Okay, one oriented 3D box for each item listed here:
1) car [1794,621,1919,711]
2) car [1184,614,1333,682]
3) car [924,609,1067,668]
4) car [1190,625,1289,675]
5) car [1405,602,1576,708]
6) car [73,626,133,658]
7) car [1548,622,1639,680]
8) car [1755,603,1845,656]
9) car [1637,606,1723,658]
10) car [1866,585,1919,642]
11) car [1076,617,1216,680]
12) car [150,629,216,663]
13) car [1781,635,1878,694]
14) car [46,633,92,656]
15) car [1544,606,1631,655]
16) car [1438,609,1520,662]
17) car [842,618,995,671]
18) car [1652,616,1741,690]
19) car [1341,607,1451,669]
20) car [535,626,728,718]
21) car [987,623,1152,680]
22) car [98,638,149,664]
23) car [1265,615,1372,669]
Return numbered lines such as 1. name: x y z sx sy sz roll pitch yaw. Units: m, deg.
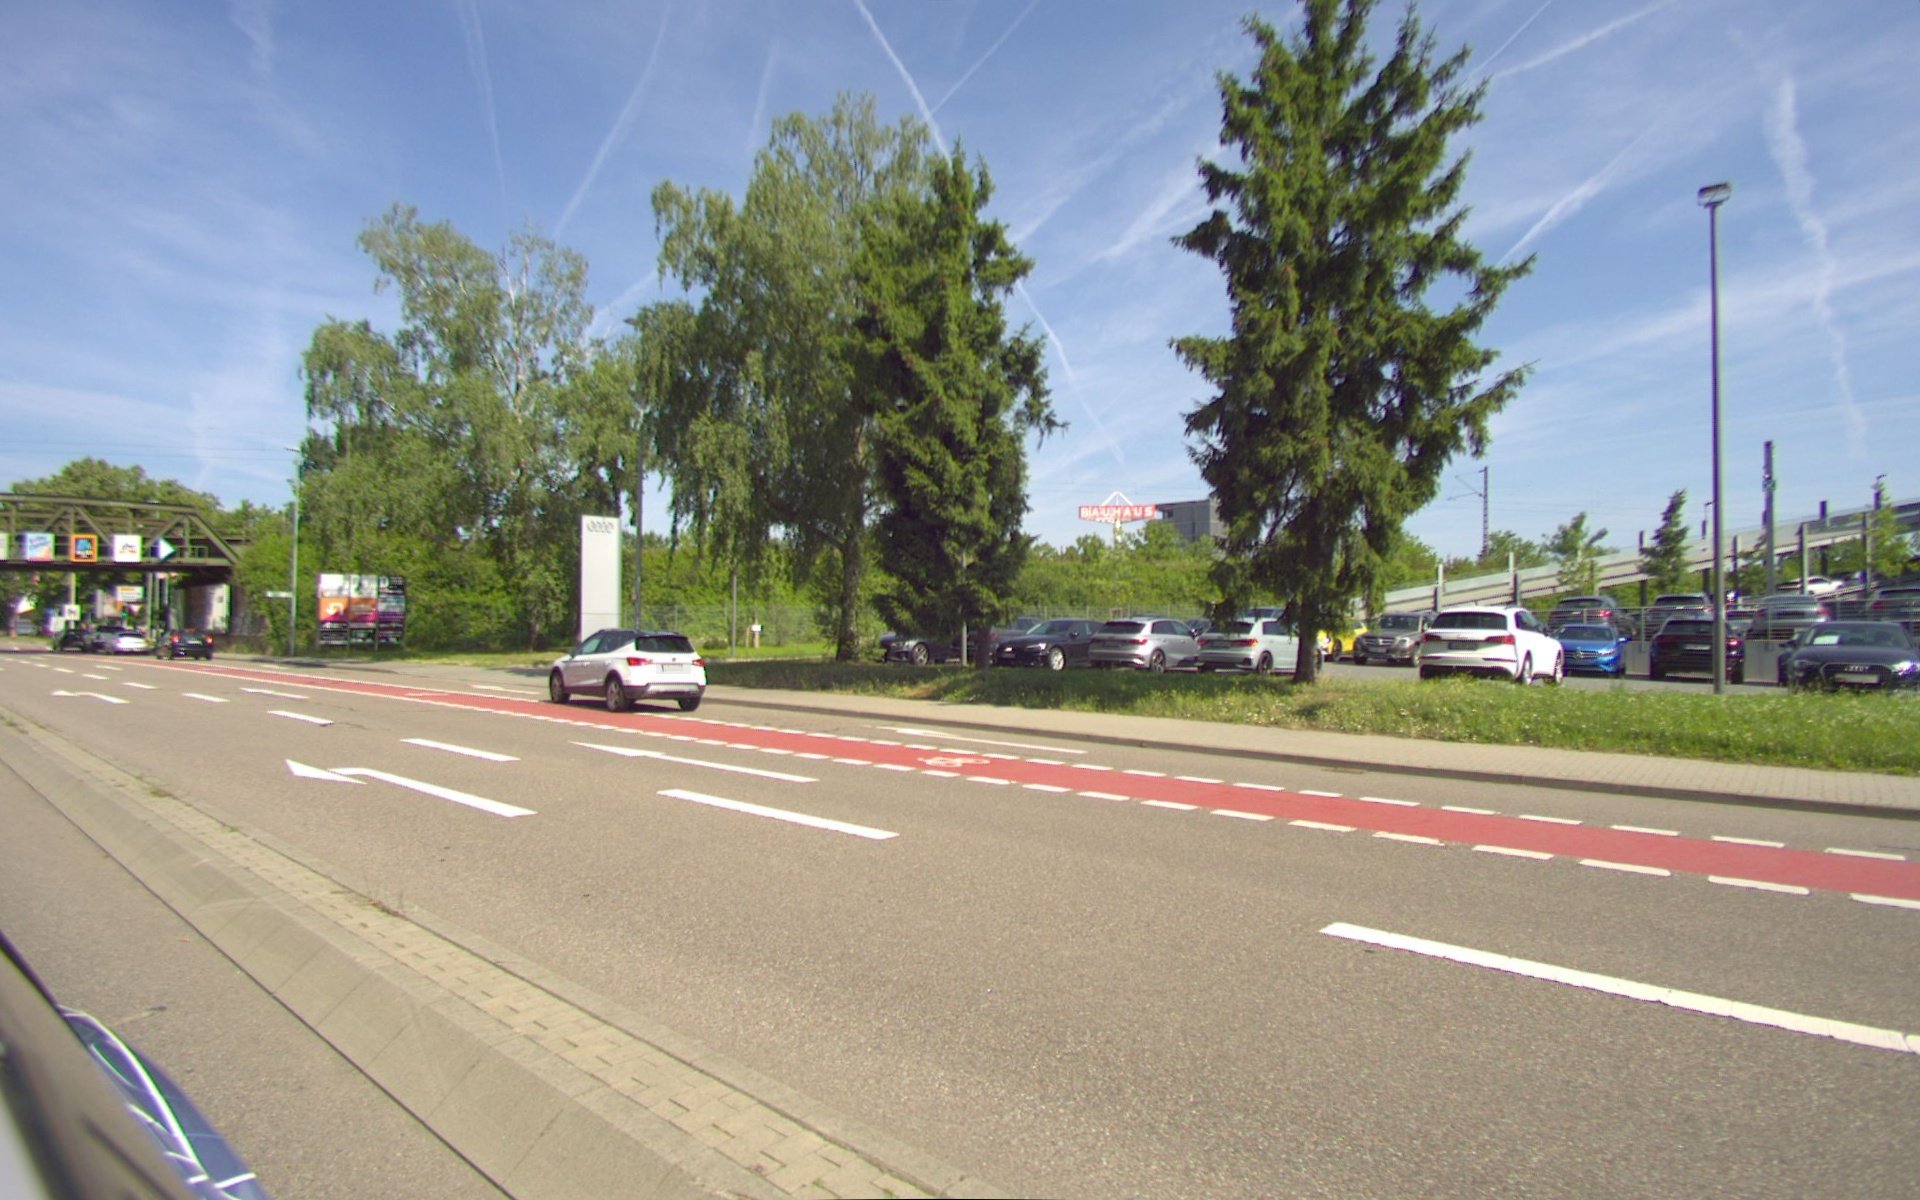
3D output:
1. car: 15.239 1.038 17.077 1.743 1.295 3.754 -2 -1 39
2. car: 7.364 1.115 24.802 1.848 1.497 3.942 -2 -1 45
3. car: 1.107 1.088 29.611 1.999 1.558 4.170 -2 -1 41
4. car: 9.893 1.716 35.624 1.803 1.576 4.200 -2 -1 39
5. car: 10.777 1.006 20.392 2.000 1.889 4.415 -2 -1 42
6. car: -53.904 2.627 63.599 5.448 1.875 1.973 -2 -5 41
7. car: 17.425 1.341 27.776 1.642 1.412 3.693 -2 -1 39
8. car: 24.622 0.815 29.758 1.889 1.429 4.455 -2 -1 39
9. car: 22.654 0.964 31.779 1.997 1.488 4.162 -2 -1 38
10. car: 26.705 0.408 28.153 1.978 1.496 4.455 -1 -2 39
11. car: 4.682 1.160 25.197 1.815 1.381 3.642 -2 -1 41
12. car: -37.335 2.201 48.610 4.025 1.530 1.680 -2 -4 41
13. car: 21.070 1.516 24.640 1.642 1.206 3.734 -2 -1 39
14. car: -62.477 3.101 70.932 4.385 1.608 1.853 -2 -3 41
15. car: 20.685 0.962 33.293 1.997 1.488 4.162 -2 -1 38
16. car: 18.385 1.217 35.792 1.996 1.746 3.952 -2 -1 36
17. car: -1.183 1.298 30.658 1.999 1.400 4.638 -2 -1 41
18. car: 19.168 1.303 26.275 1.642 1.735 3.734 -2 -1 39
19. car: 13.610 1.130 31.500 1.999 1.770 3.945 -2 -1 42
20. car: -6.555 1.355 19.983 1.970 1.630 4.106 4 -4 -45
21. car: 3.001 1.310 26.859 1.999 1.278 4.801 -2 -1 41
22. car: -48.704 2.957 58.880 4.316 1.398 1.618 -2 -3 42
23. car: 11.954 1.336 33.627 1.999 1.634 3.945 -2 -1 42
